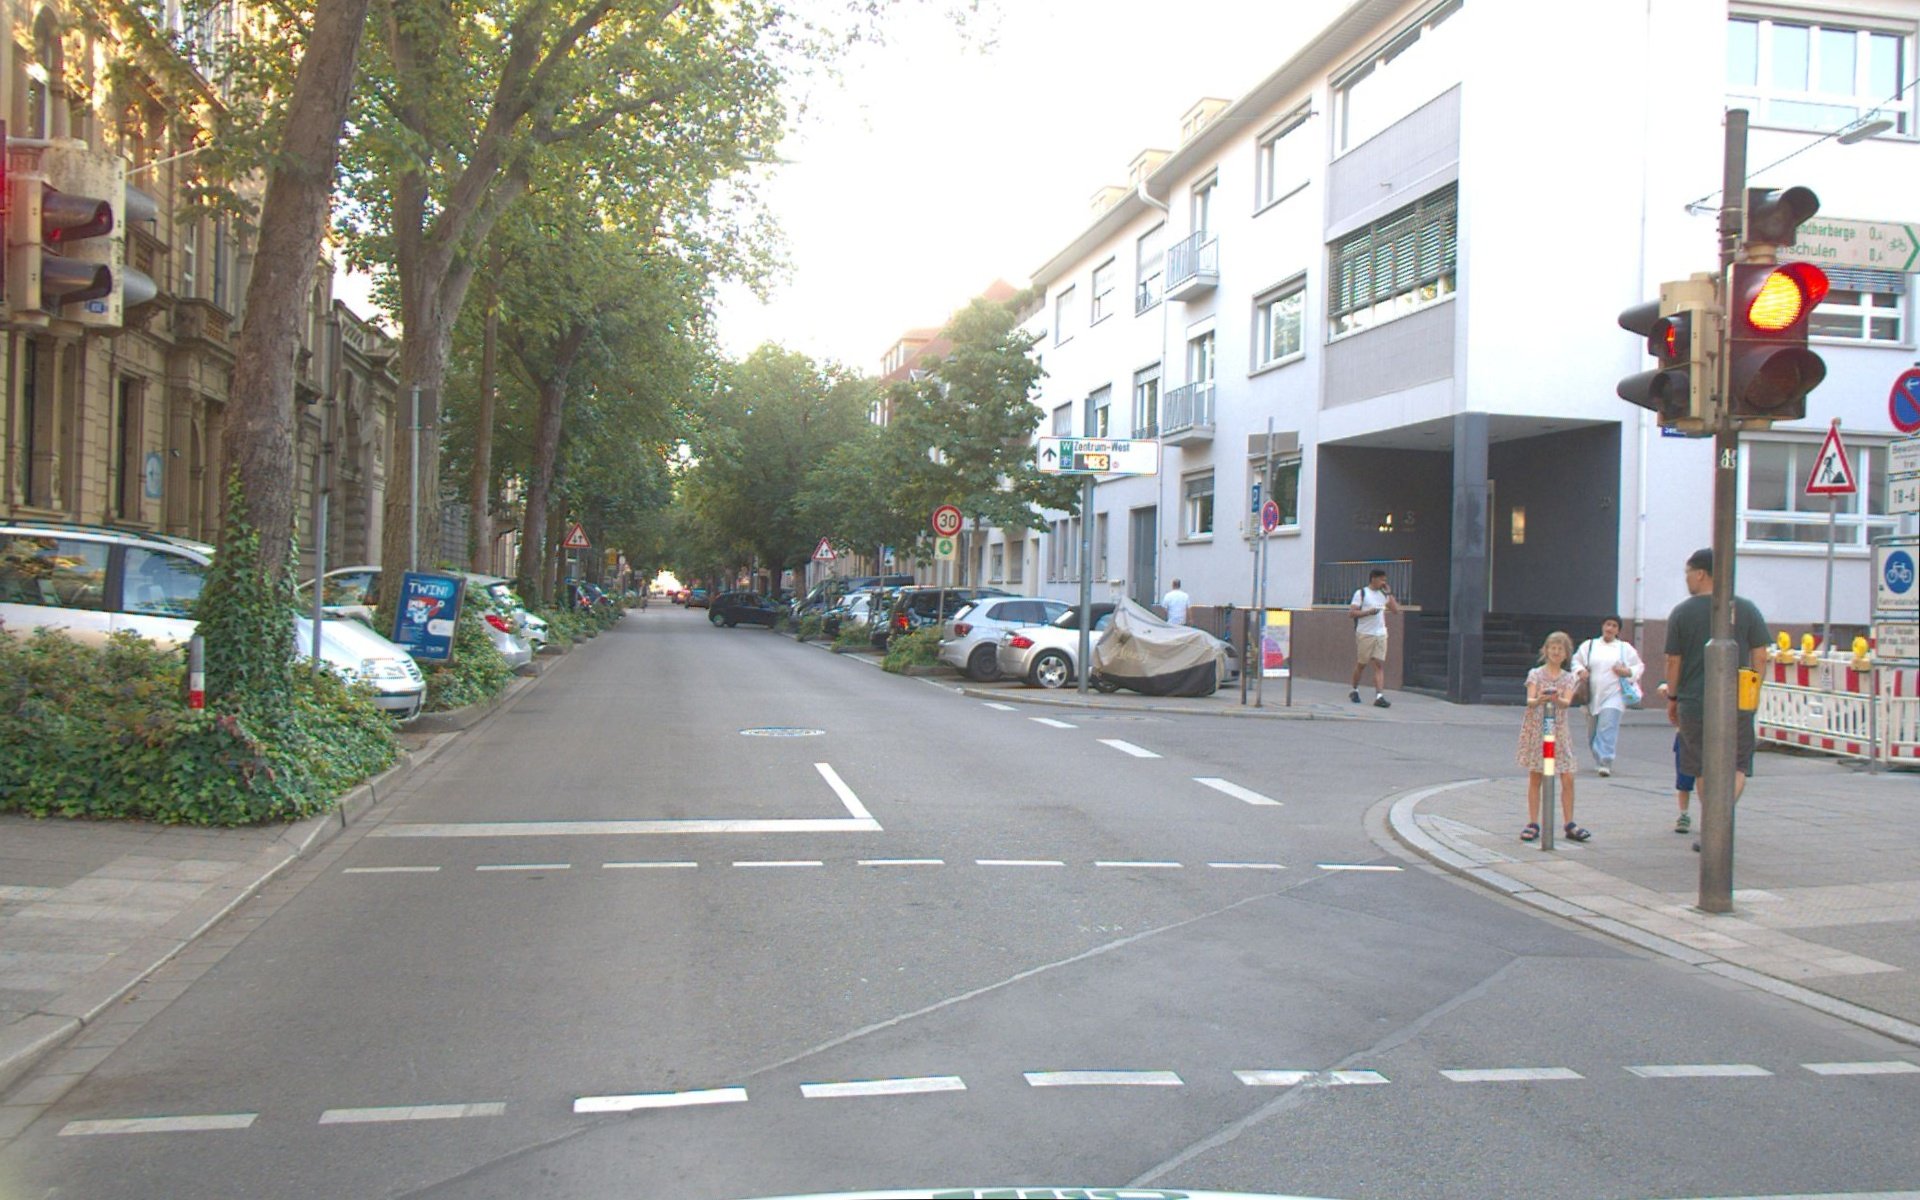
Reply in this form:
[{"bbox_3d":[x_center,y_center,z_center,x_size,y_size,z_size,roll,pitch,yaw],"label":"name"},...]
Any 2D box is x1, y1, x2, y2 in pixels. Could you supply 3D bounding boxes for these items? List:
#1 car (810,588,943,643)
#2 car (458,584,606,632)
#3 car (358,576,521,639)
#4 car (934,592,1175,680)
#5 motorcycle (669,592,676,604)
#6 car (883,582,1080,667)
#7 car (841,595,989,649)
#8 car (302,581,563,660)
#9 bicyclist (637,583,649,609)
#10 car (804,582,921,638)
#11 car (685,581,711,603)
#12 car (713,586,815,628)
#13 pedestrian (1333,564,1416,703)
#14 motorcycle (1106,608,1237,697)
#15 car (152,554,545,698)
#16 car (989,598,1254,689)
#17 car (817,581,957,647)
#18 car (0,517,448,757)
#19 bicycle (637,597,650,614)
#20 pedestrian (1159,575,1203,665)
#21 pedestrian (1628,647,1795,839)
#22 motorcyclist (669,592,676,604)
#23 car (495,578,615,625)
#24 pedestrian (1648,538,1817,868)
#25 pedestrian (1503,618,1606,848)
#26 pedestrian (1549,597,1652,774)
[{"bbox_3d":[-2.614,0.469,51.512,3.942,1.557,1.703,2,0,-11],"label":"car"},{"bbox_3d":[-13.817,0.252,53.589,4.465,1.434,1.829,1,0,-10],"label":"car"},{"bbox_3d":[-14.153,0.194,45.167,3.965,1.618,1.829,1,0,-10],"label":"car"},{"bbox_3d":[1.628,0.625,29.126,3.942,1.467,1.703,1,0,-11],"label":"car"},{"bbox_3d":[-33.203,-0.234,191.034,0.803,1.258,2.020,3,0,-10],"label":"motorcycle"},{"bbox_3d":[0.431,0.520,35.367,3.942,1.720,1.703,1,0,-11],"label":"car"},{"bbox_3d":[-1.298,0.609,46.478,3.942,1.434,1.703,1,0,-11],"label":"car"},{"bbox_3d":[-9.932,0.381,31.466,4.465,1.396,1.829,1,0,-10],"label":"car"},{"bbox_3d":[-18.474,-0.256,96.463,0.562,1.495,0.640,2,-1,-16],"label":"bicyclist"},{"bbox_3d":[-3.486,0.359,58.740,3.942,1.862,1.703,2,0,-11],"label":"car"},{"bbox_3d":[-20.178,-0.619,127.152,1.793,1.589,4.017,3,0,-11],"label":"car"},{"bbox_3d":[-8.397,0.295,70.988,3.893,1.605,1.911,2,0,9],"label":"car"},{"bbox_3d":[5.747,0.457,22.973,0.753,1.873,0.941,2,0,-10],"label":"pedestrian"},{"bbox_3d":[2.998,0.736,23.493,1.763,1.220,0.613,1,0,-1],"label":"motorcycle"},{"bbox_3d":[-7.765,0.334,21.428,4.465,1.718,1.829,1,0,-10],"label":"car"},{"bbox_3d":[2.558,0.683,26.633,3.941,1.366,1.703,1,0,-10],"label":"car"},{"bbox_3d":[-2.171,0.410,48.695,3.942,1.847,1.703,1,0,-11],"label":"car"},{"bbox_3d":[-6.757,0.298,13.974,4.469,1.867,1.827,1,0,-13],"label":"car"},{"bbox_3d":[-18.466,0.295,96.388,0.562,0.966,1.737,2,-1,-16],"label":"bicycle"},{"bbox_3d":[4.482,0.406,33.582,0.690,1.782,0.698,2,0,-6],"label":"pedestrian"},{"bbox_3d":[4.832,0.895,10.667,0.557,1.140,0.832,0,1,-20],"label":"pedestrian"},{"bbox_3d":[-33.190,-0.233,190.966,0.803,1.258,0.848,3,0,-11],"label":"motorcyclist"},{"bbox_3d":[-16.094,0.066,65.851,4.465,1.721,1.829,2,0,-10],"label":"car"},{"bbox_3d":[4.550,0.558,9.803,0.775,1.847,0.891,1,2,19],"label":"pedestrian"},{"bbox_3d":[3.681,0.801,10.266,0.494,1.359,0.541,2,0,12],"label":"pedestrian"},{"bbox_3d":[5.827,0.750,15.029,0.759,1.527,0.801,2,1,27],"label":"pedestrian"}]
